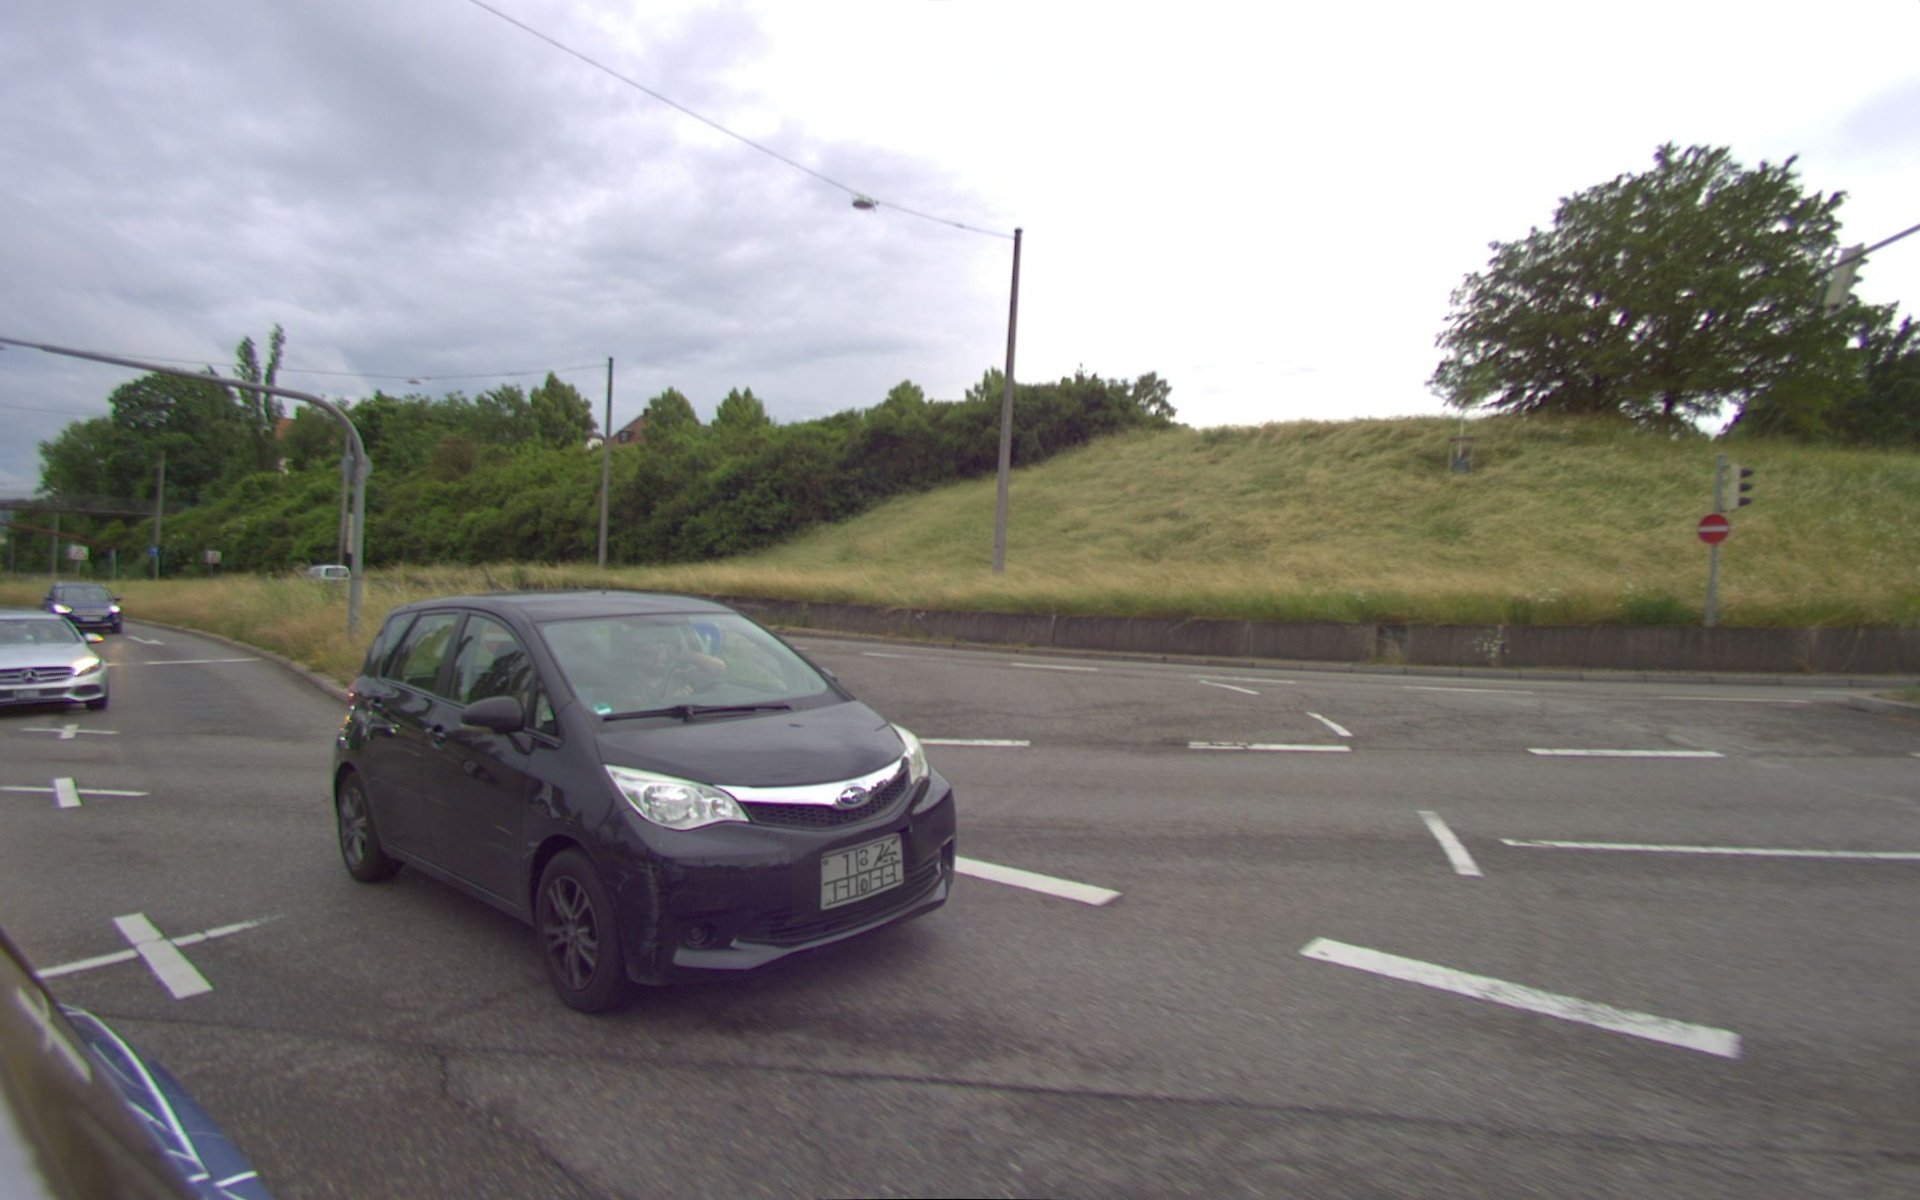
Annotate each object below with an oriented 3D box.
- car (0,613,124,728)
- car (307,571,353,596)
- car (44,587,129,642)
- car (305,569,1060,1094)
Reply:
[{"bbox_3d":[-14.135,0.959,15.191,4.526,1.418,1.971,1,0,44],"label":"car"},{"bbox_3d":[-37.101,-0.970,59.570,3.231,1.443,1.539,1,2,44],"label":"car"},{"bbox_3d":[-29.692,0.472,34.360,1.900,1.748,4.028,-1,0,-45],"label":"car"},{"bbox_3d":[-1.656,0.709,5.076,4.042,1.577,1.776,-1,0,43],"label":"car"}]
